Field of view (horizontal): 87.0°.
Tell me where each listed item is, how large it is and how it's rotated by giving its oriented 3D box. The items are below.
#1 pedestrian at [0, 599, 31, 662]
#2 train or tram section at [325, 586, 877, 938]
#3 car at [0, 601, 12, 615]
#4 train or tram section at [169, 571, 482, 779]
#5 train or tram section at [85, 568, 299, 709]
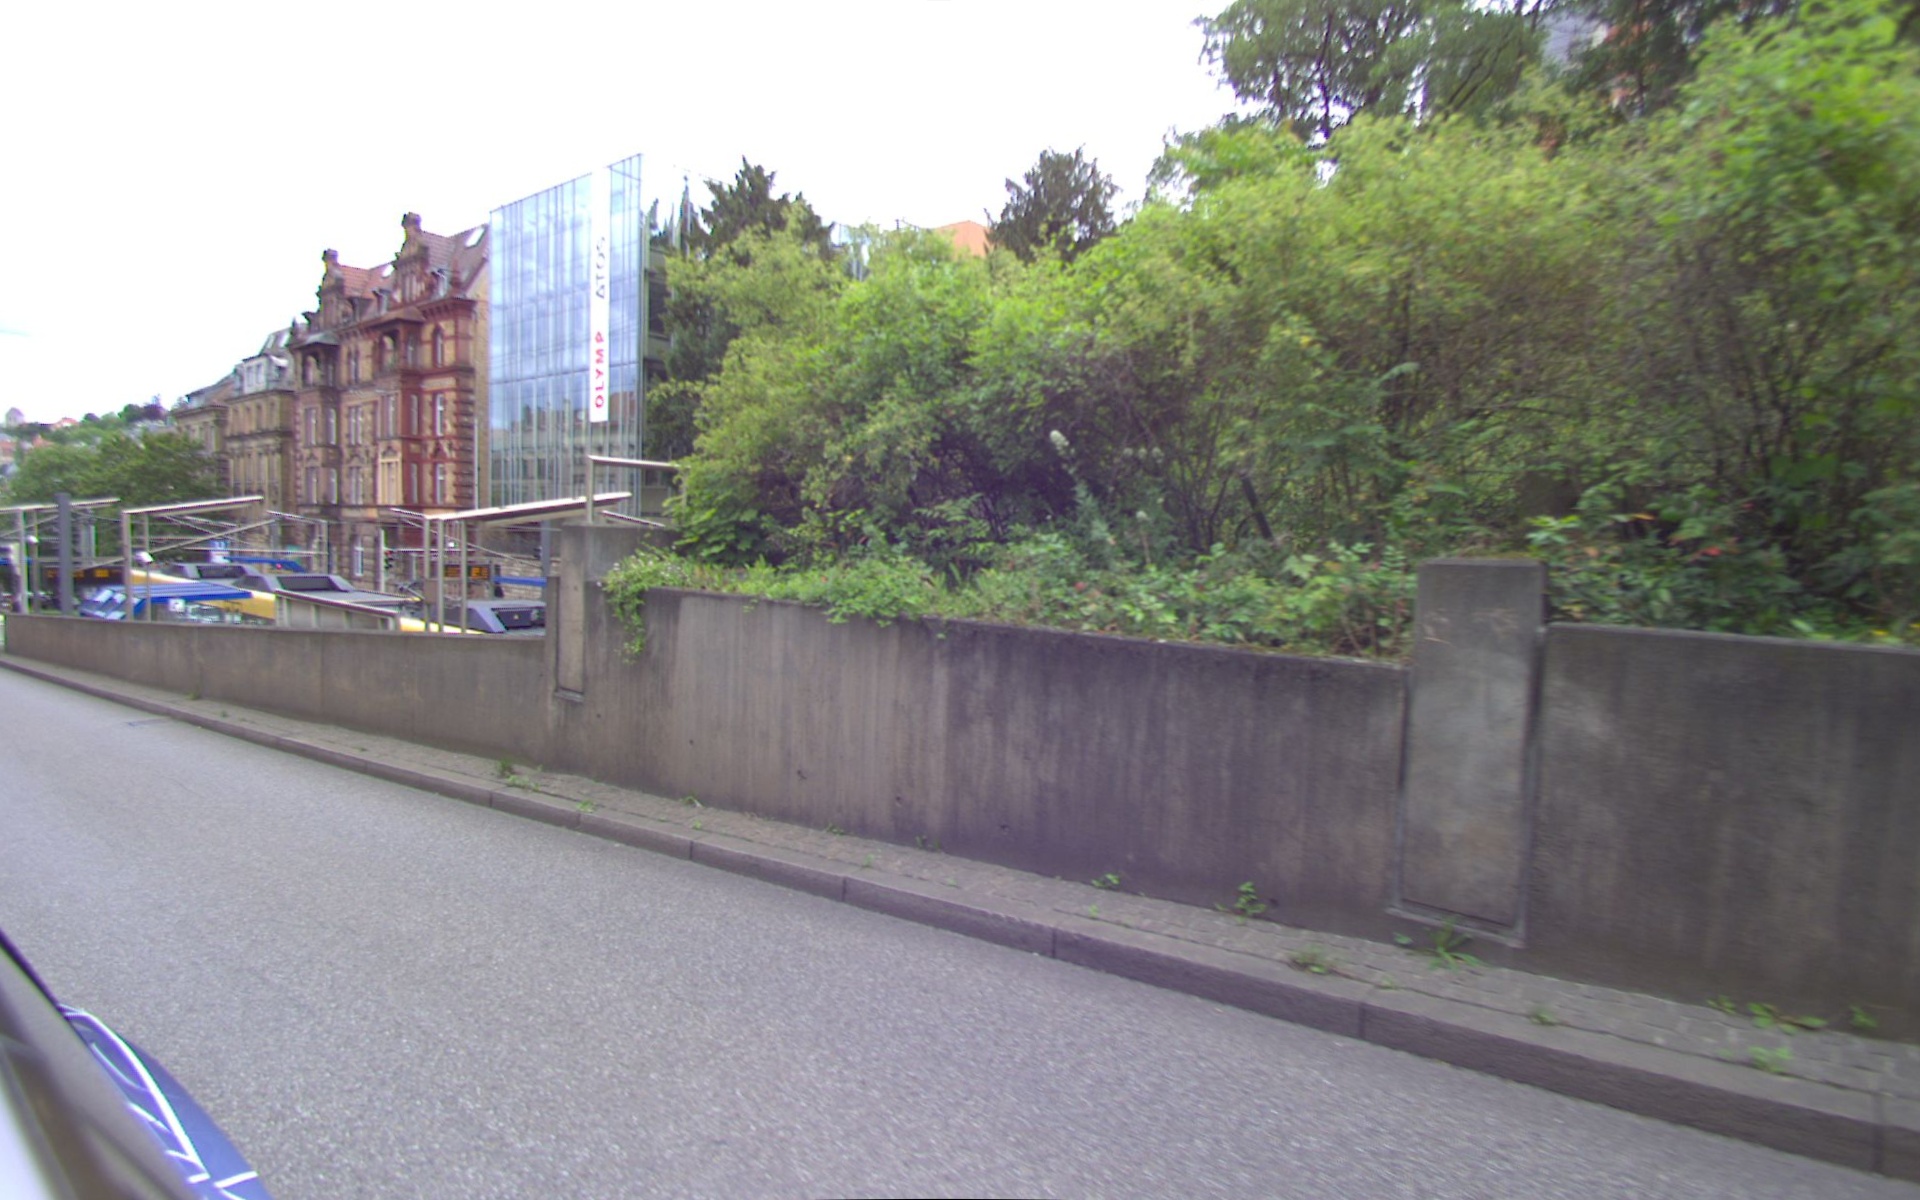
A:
[{"bbox_3d":[-27.843,0.879,29.626,0.802,1.790,0.808,0,1,38],"label":"pedestrian"},{"bbox_3d":[-6.580,1.702,16.202,12.218,3.509,2.918,3,3,42],"label":"train or tram section"},{"bbox_3d":[-124.360,1.061,129.720,1.774,1.827,3.826,-1,1,25],"label":"car"},{"bbox_3d":[-15.679,1.294,24.289,12.214,3.497,2.919,4,4,41],"label":"train or tram section"},{"bbox_3d":[-24.846,0.868,32.327,12.393,3.569,2.919,3,3,41],"label":"train or tram section"}]
